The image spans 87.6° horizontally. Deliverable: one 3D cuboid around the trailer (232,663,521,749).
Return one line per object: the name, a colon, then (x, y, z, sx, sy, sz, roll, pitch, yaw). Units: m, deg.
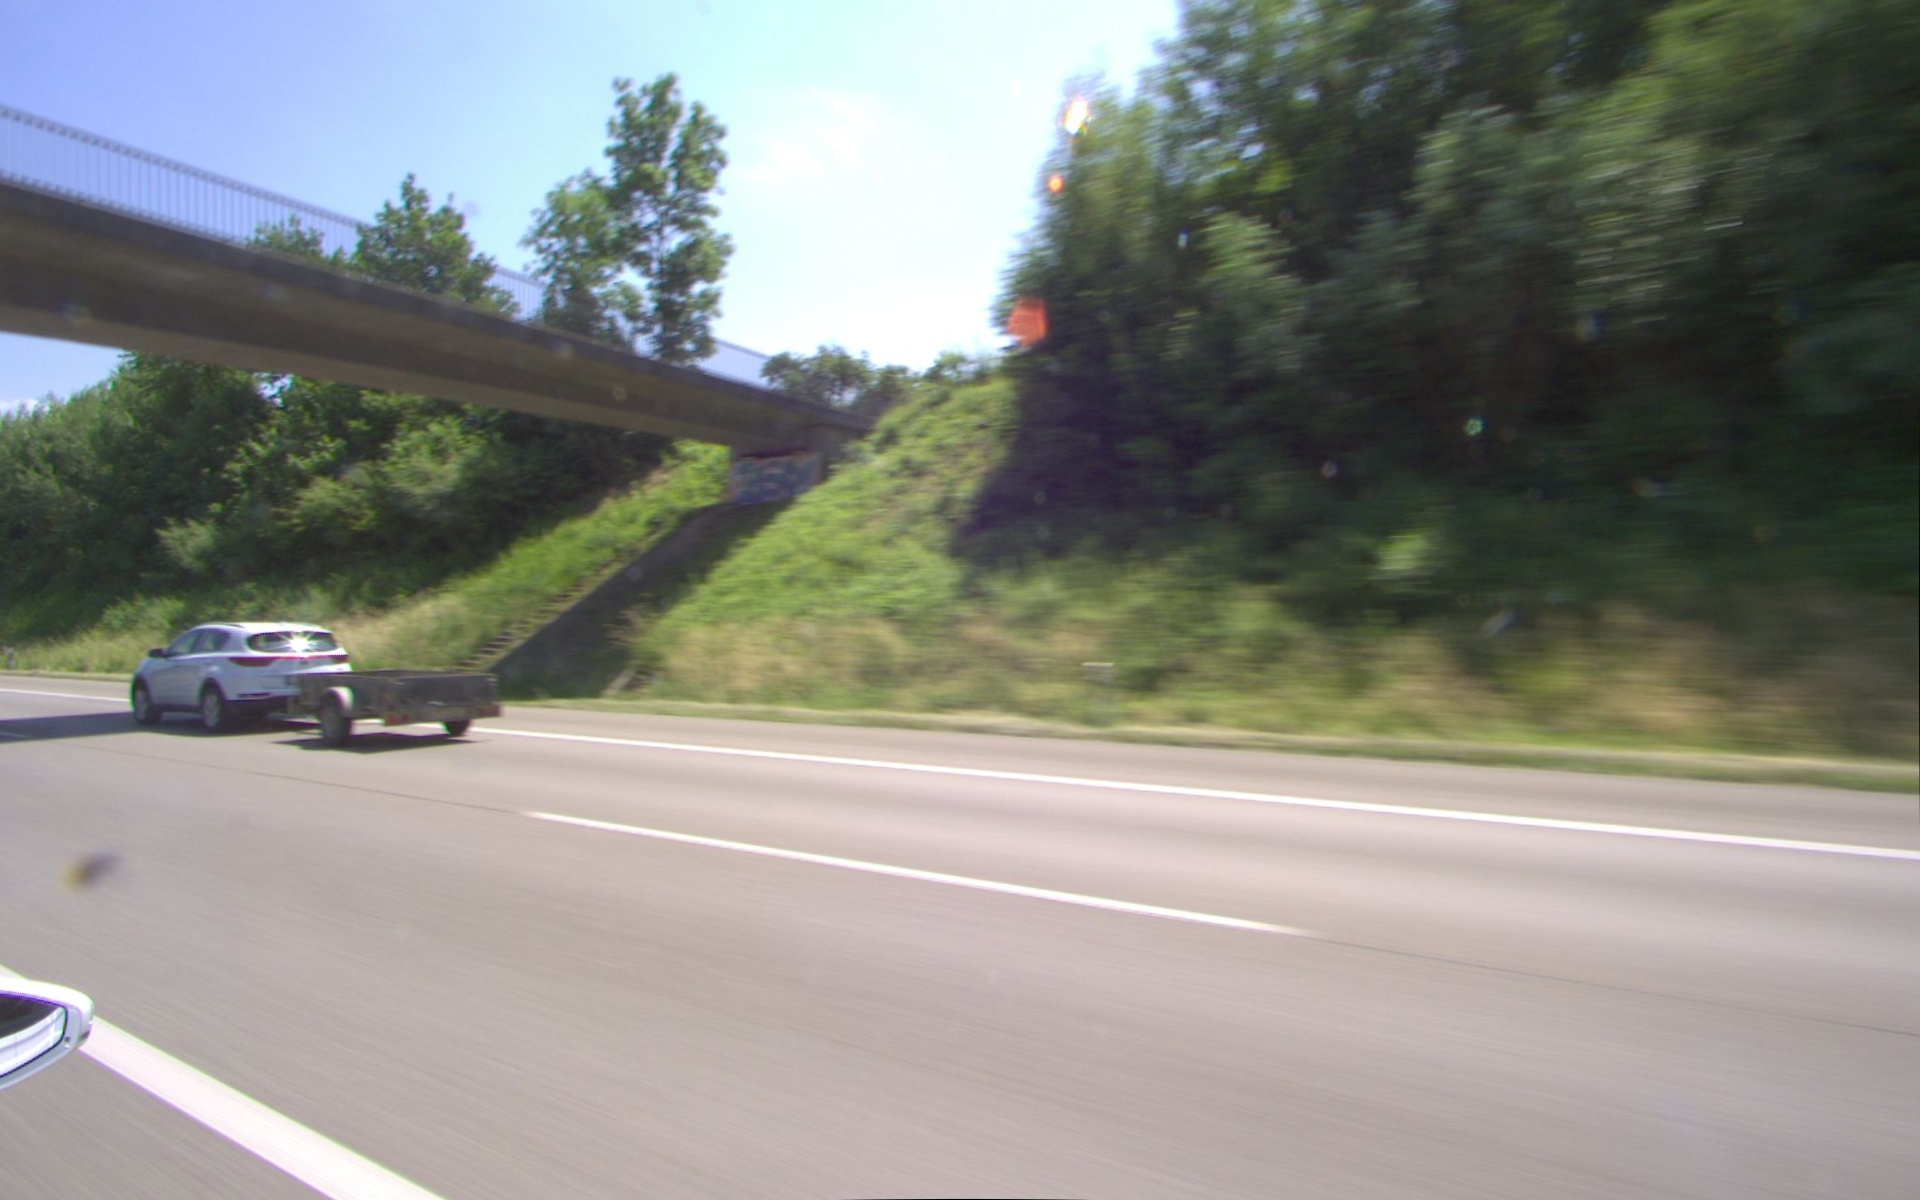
trailer: (-8.322, 1.420, 14.181, 4.257, 0.920, 1.752, -1, -2, 32)

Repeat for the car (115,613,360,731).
car: (-11.979, 1.086, 16.539, 4.339, 1.672, 1.778, 0, -1, 32)
